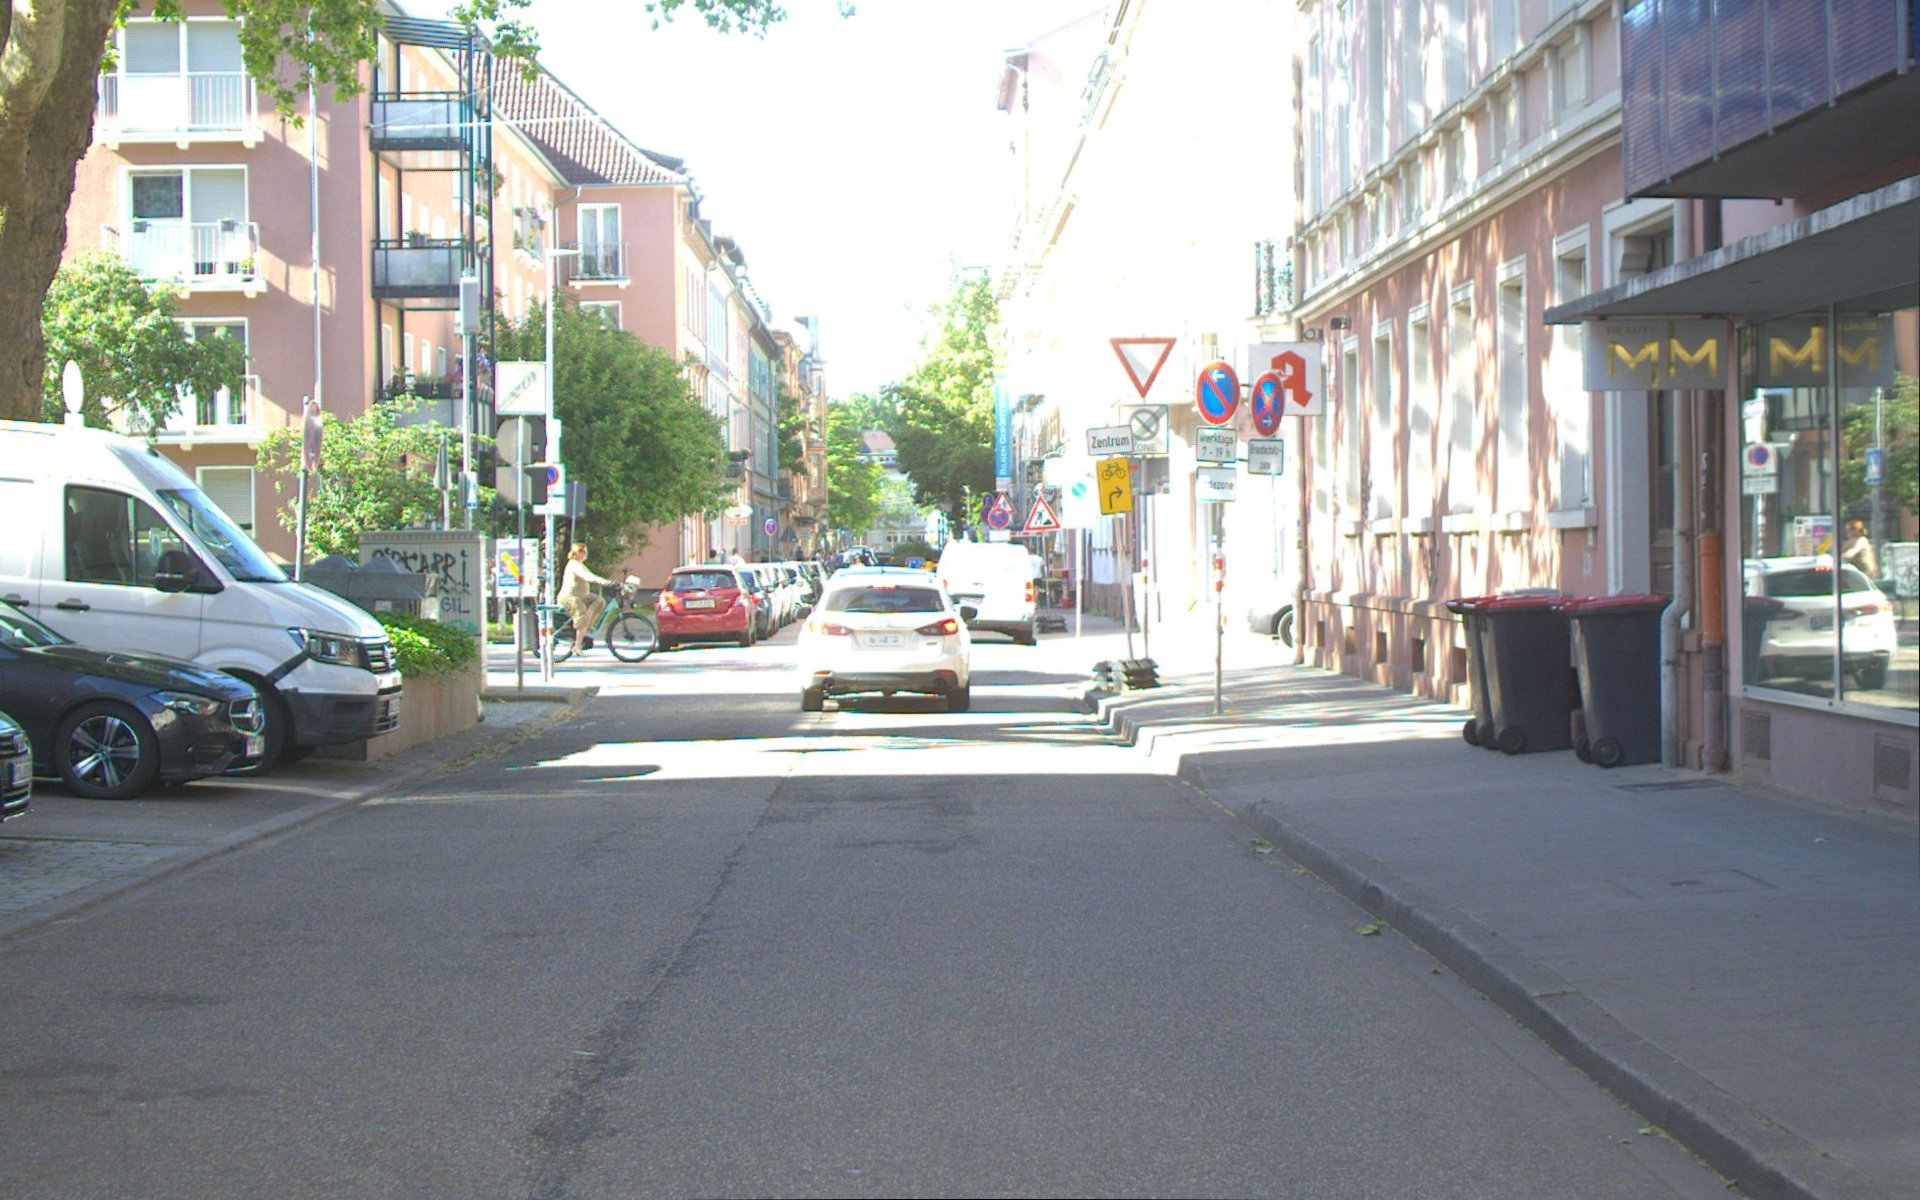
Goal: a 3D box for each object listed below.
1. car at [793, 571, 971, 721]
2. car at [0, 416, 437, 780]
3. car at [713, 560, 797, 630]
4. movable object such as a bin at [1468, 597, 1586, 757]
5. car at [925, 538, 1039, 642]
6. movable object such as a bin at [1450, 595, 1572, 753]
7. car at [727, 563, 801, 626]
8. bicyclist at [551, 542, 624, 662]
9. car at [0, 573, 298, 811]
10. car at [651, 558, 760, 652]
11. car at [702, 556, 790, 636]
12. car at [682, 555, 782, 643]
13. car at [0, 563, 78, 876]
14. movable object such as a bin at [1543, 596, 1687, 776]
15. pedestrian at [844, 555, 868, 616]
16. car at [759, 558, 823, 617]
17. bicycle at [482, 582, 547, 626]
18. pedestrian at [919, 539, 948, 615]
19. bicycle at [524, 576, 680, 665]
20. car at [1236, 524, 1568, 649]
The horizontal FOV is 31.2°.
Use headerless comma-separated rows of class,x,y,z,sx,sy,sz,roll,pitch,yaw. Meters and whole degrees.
car,-0.856,0.464,37.654,1.823,1.509,3.824,-1,1,-1
car,-7.562,-0.088,26.137,6.739,2.546,2.145,2,0,1
car,-4.805,-0.126,80.814,1.720,1.571,3.726,-1,0,0
movable object such as a bin,3.882,0.522,23.582,0.701,1.069,0.596,-1,0,1
car,0.396,-0.212,66.155,1.942,1.941,4.079,0,1,-3
movable object such as a bin,3.875,0.513,24.214,0.745,1.082,0.634,-1,0,1
car,-4.821,-0.133,84.826,1.602,1.472,3.567,-1,0,0
bicyclist,-5.435,0.032,50.176,0.924,1.714,0.942,-1,0,1
car,-6.958,0.545,23.345,4.500,1.465,1.929,2,1,1
car,-4.630,0.066,62.915,1.769,1.583,3.726,-1,1,-1
car,-4.594,-0.079,74.028,1.635,1.650,3.785,-1,0,0
car,-4.516,-0.037,68.514,1.720,1.677,3.726,-1,0,0
car,-7.188,0.583,18.395,4.465,1.604,1.916,1,0,-3
movable object such as a bin,4.116,0.532,21.638,0.729,1.100,0.693,-1,0,-3
pedestrian,-3.085,-0.421,102.067,0.647,1.791,0.639,-1,0,0
car,-4.664,-0.336,95.137,1.572,1.580,3.611,-1,0,0
bicycle,-9.616,0.090,74.179,0.603,0.929,1.915,-1,0,-34
pedestrian,-0.747,-0.639,96.140,0.771,2.111,0.834,-1,0,0
bicycle,-5.220,0.297,50.178,2.163,1.251,0.833,-1,0,0
car,7.047,-0.186,54.863,4.896,1.922,1.997,0,-1,24
